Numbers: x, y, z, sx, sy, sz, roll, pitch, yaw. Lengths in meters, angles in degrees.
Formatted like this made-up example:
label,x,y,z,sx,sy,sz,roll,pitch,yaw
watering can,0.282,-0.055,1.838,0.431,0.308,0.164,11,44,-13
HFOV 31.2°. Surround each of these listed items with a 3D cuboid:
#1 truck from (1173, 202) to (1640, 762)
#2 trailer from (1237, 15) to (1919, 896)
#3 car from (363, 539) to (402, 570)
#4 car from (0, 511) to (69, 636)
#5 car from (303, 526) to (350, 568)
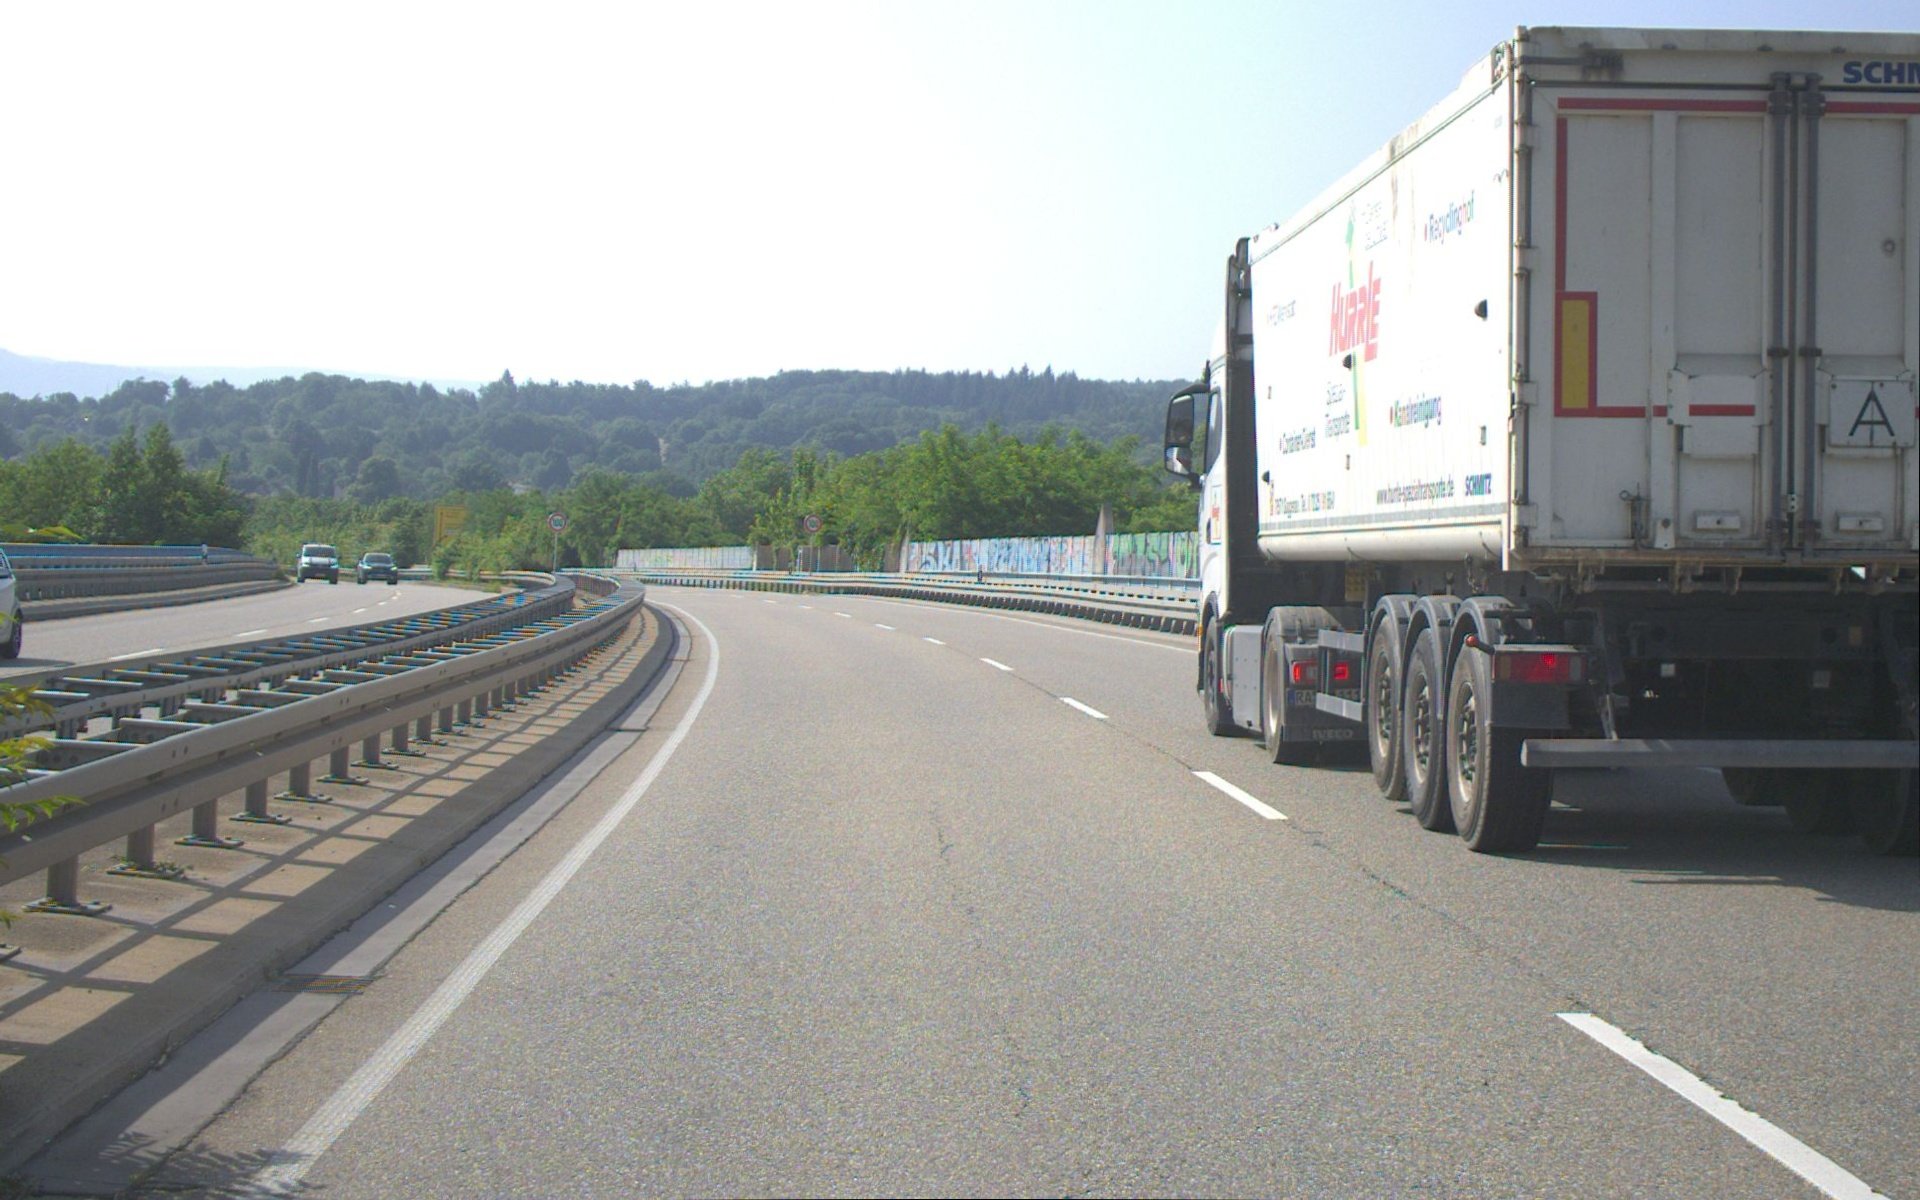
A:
label,x,y,z,sx,sy,sz,roll,pitch,yaw
truck,3.305,-0.902,26.921,2.658,3.882,5.649,1,2,-2
trailer,3.581,-0.745,20.168,2.679,3.893,9.674,1,1,-2
car,-31.134,-2.468,185.452,1.864,1.602,4.419,2,1,-8
car,-12.400,-0.370,42.705,1.648,1.497,4.000,2,1,-1
car,-32.127,-2.695,174.413,2.038,1.999,5.309,2,1,-8
